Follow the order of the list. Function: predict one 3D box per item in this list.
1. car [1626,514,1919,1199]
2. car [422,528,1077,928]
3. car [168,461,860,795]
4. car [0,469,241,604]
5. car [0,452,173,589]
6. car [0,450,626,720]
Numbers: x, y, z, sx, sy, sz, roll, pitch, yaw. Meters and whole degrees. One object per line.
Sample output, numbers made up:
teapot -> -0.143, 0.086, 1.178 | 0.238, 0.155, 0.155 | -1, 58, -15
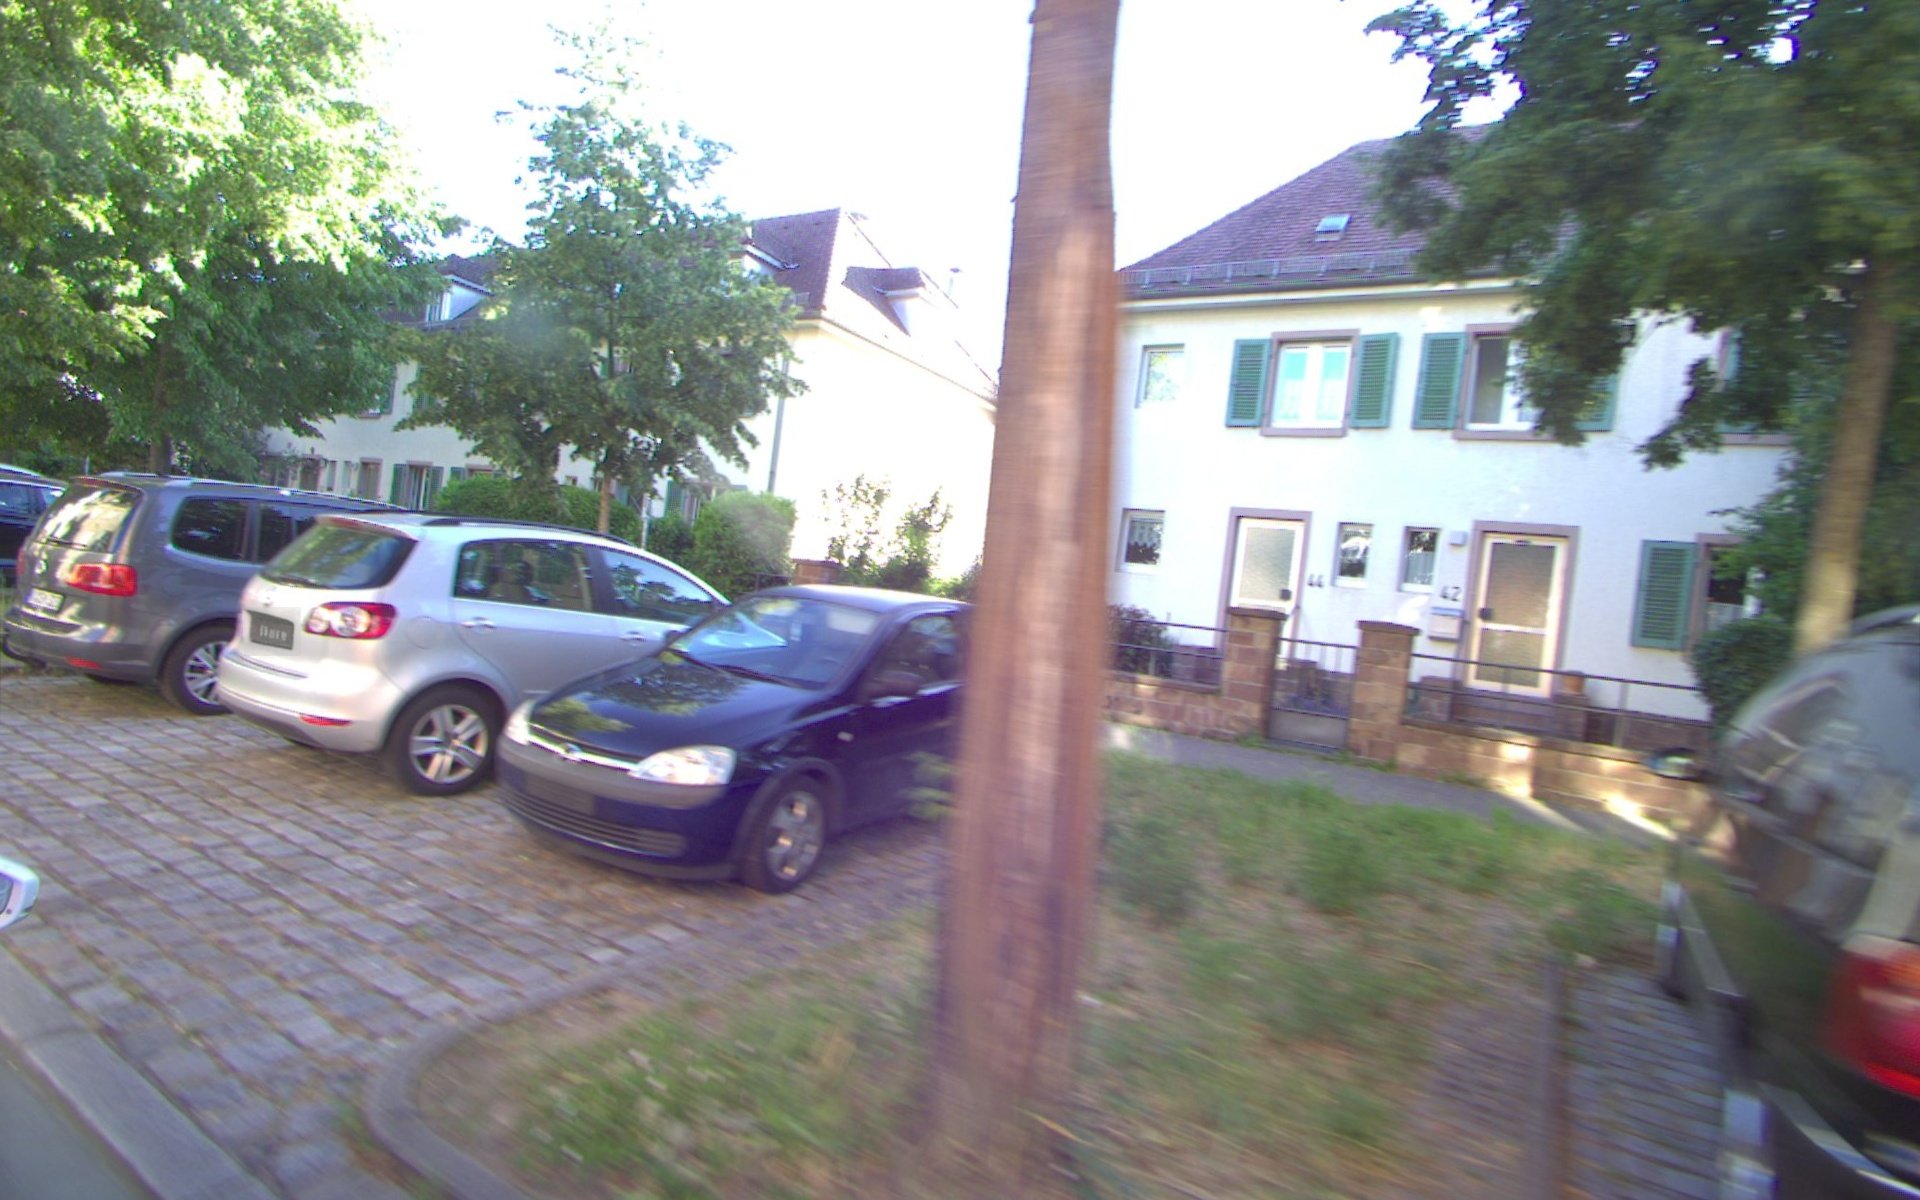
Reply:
car -> 3.307, 0.854, 3.130 | 1.876, 1.700, 4.579 | 7, 3, 33
car -> -0.869, 0.517, 5.918 | 1.562, 1.473, 3.722 | 7, 3, 31
car -> -2.809, 0.141, 7.286 | 1.663, 1.655, 4.269 | 7, 3, 35
car -> -11.704, -0.839, 12.555 | 1.666, 1.497, 4.067 | 8, 3, 32
car -> -13.889, -1.229, 13.693 | 1.803, 1.732, 4.620 | 7, 2, 33
car -> -5.294, -0.133, 8.754 | 1.780, 1.655, 4.543 | 7, 3, 26
